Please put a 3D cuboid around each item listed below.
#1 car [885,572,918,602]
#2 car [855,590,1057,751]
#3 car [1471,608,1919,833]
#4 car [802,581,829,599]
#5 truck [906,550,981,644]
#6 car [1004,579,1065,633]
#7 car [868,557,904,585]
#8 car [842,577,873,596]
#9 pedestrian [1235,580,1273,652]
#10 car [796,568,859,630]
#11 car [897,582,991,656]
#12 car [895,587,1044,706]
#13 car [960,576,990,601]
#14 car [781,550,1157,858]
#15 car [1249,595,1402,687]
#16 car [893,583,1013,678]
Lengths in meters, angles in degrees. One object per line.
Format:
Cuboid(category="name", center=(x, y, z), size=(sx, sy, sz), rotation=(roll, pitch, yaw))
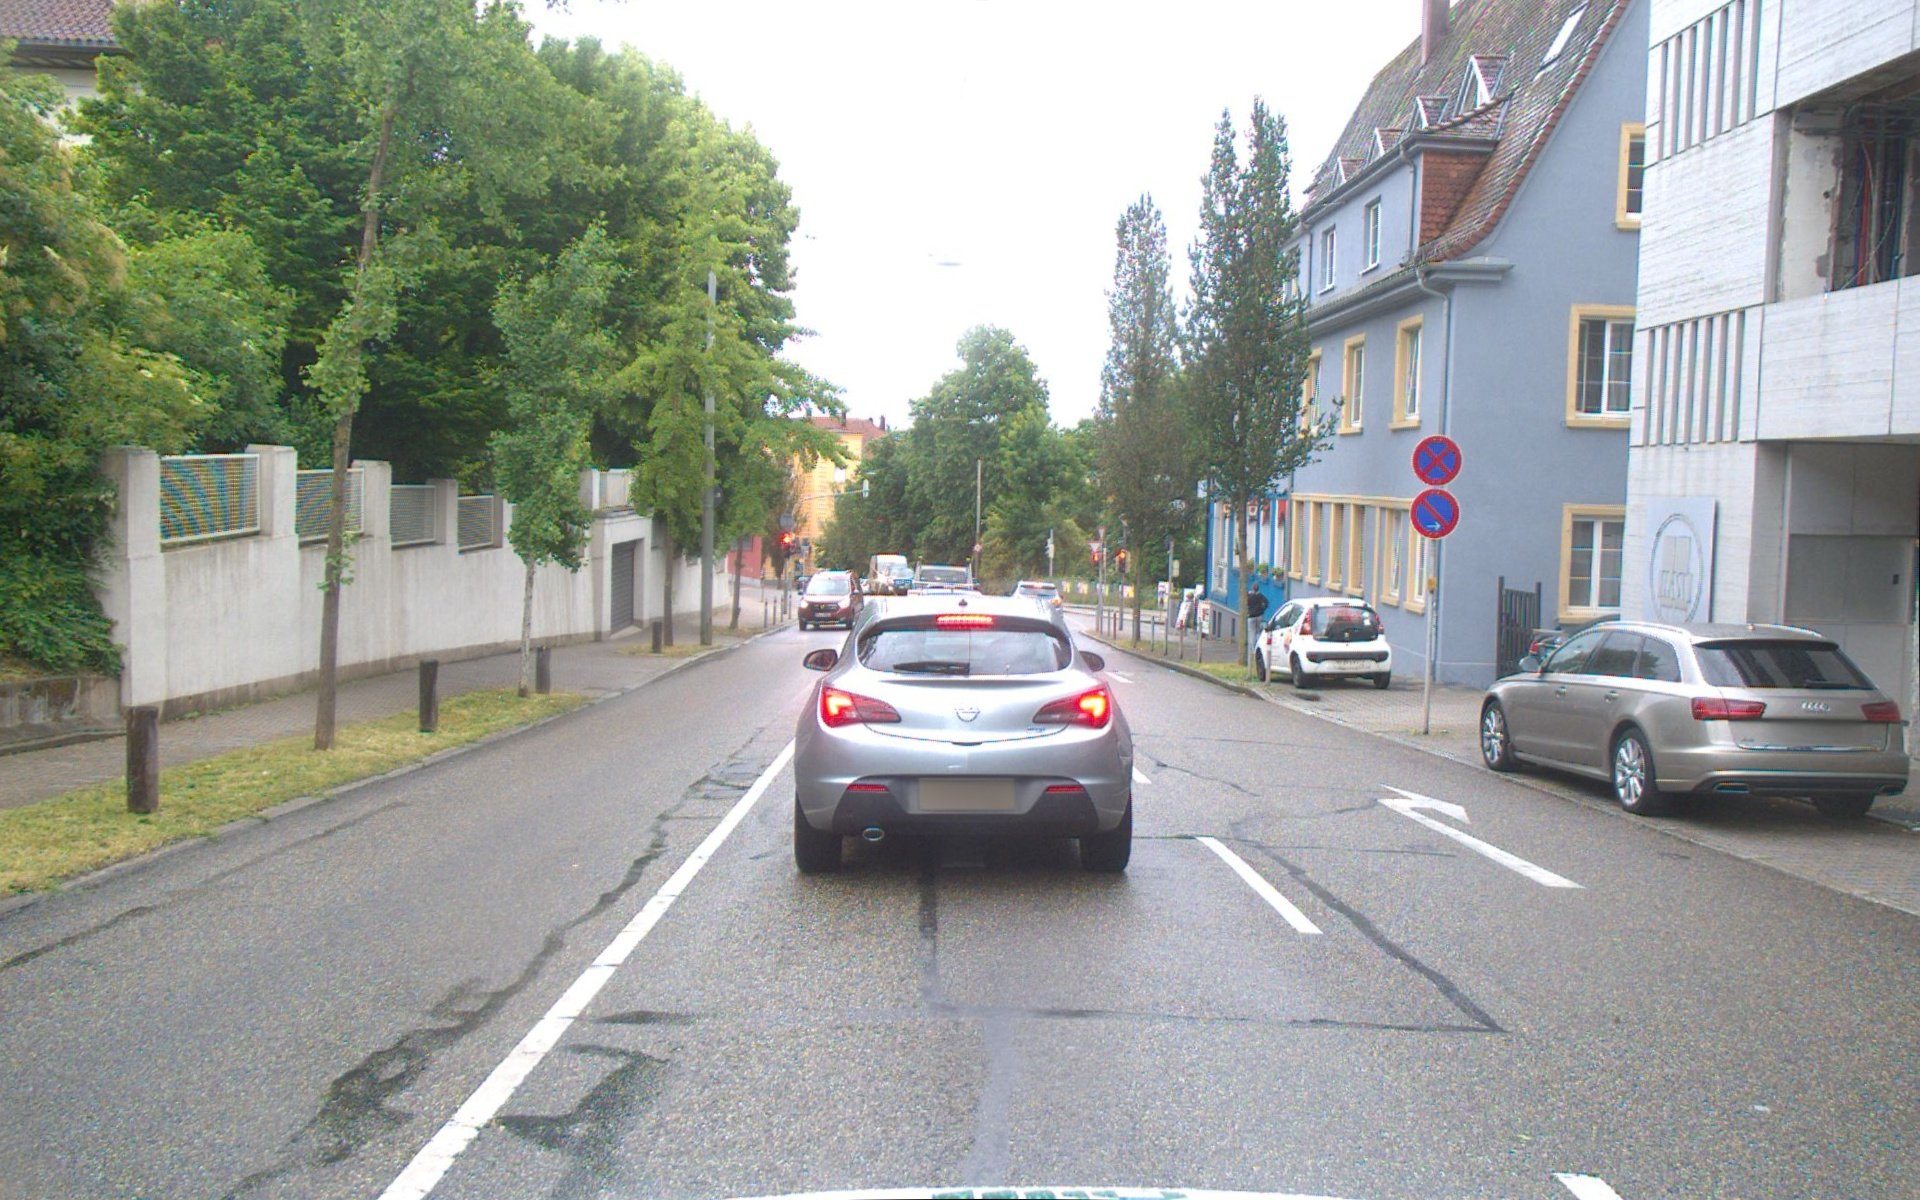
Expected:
Cuboid(category="car", center=(-3.268, -0.734, 92.556), size=(1.833, 1.666, 3.878), rotation=(0, 0, -2))
Cuboid(category="car", center=(-0.109, 0.676, 18.323), size=(1.922, 1.473, 4.304), rotation=(2, 1, -2))
Cuboid(category="car", center=(6.046, 0.863, 13.895), size=(1.923, 1.473, 4.524), rotation=(1, 1, -3))
Cuboid(category="car", center=(-13.794, -0.938, 157.898), size=(1.696, 1.666, 3.859), rotation=(0, 0, -18))
Cuboid(category="truck", center=(-0.524, -0.111, 47.079), size=(1.922, 2.471, 4.934), rotation=(2, 1, -2))
Cuboid(category="car", center=(2.441, 0.176, 55.154), size=(1.688, 1.744, 3.878), rotation=(0, 0, -3))
Cuboid(category="car", center=(-4.500, -1.738, 100.174), size=(1.691, 1.666, 3.871), rotation=(0, 0, -9))
Cuboid(category="car", center=(-8.632, -1.154, 139.210), size=(1.696, 1.570, 3.859), rotation=(0, 0, -18))
Cuboid(category="pedestrian", center=(7.308, 0.391, 41.094), size=(0.767, 1.759, 0.650), rotation=(2, 0, -1))
Cuboid(category="car", center=(-4.196, -0.032, 52.968), size=(1.711, 1.860, 4.458), rotation=(-1, 0, -1))
Cuboid(category="car", center=(-0.405, 0.370, 37.081), size=(1.922, 1.473, 4.304), rotation=(2, 1, -2))
Cuboid(category="car", center=(0.056, 0.605, 24.047), size=(1.922, 1.473, 4.304), rotation=(2, 1, -2))
Cuboid(category="car", center=(0.986, -0.762, 108.914), size=(1.689, 1.666, 3.876), rotation=(0, 0, -4))
Cuboid(category="car", center=(-0.037, 0.493, 9.950), size=(1.800, 1.459, 3.878), rotation=(1, 0, -3))
Cuboid(category="car", center=(6.280, 0.659, 28.780), size=(1.688, 1.473, 3.878), rotation=(0, 0, -2))
Cuboid(category="car", center=(-0.188, 0.480, 29.423), size=(1.922, 1.473, 4.304), rotation=(2, 1, -2))
